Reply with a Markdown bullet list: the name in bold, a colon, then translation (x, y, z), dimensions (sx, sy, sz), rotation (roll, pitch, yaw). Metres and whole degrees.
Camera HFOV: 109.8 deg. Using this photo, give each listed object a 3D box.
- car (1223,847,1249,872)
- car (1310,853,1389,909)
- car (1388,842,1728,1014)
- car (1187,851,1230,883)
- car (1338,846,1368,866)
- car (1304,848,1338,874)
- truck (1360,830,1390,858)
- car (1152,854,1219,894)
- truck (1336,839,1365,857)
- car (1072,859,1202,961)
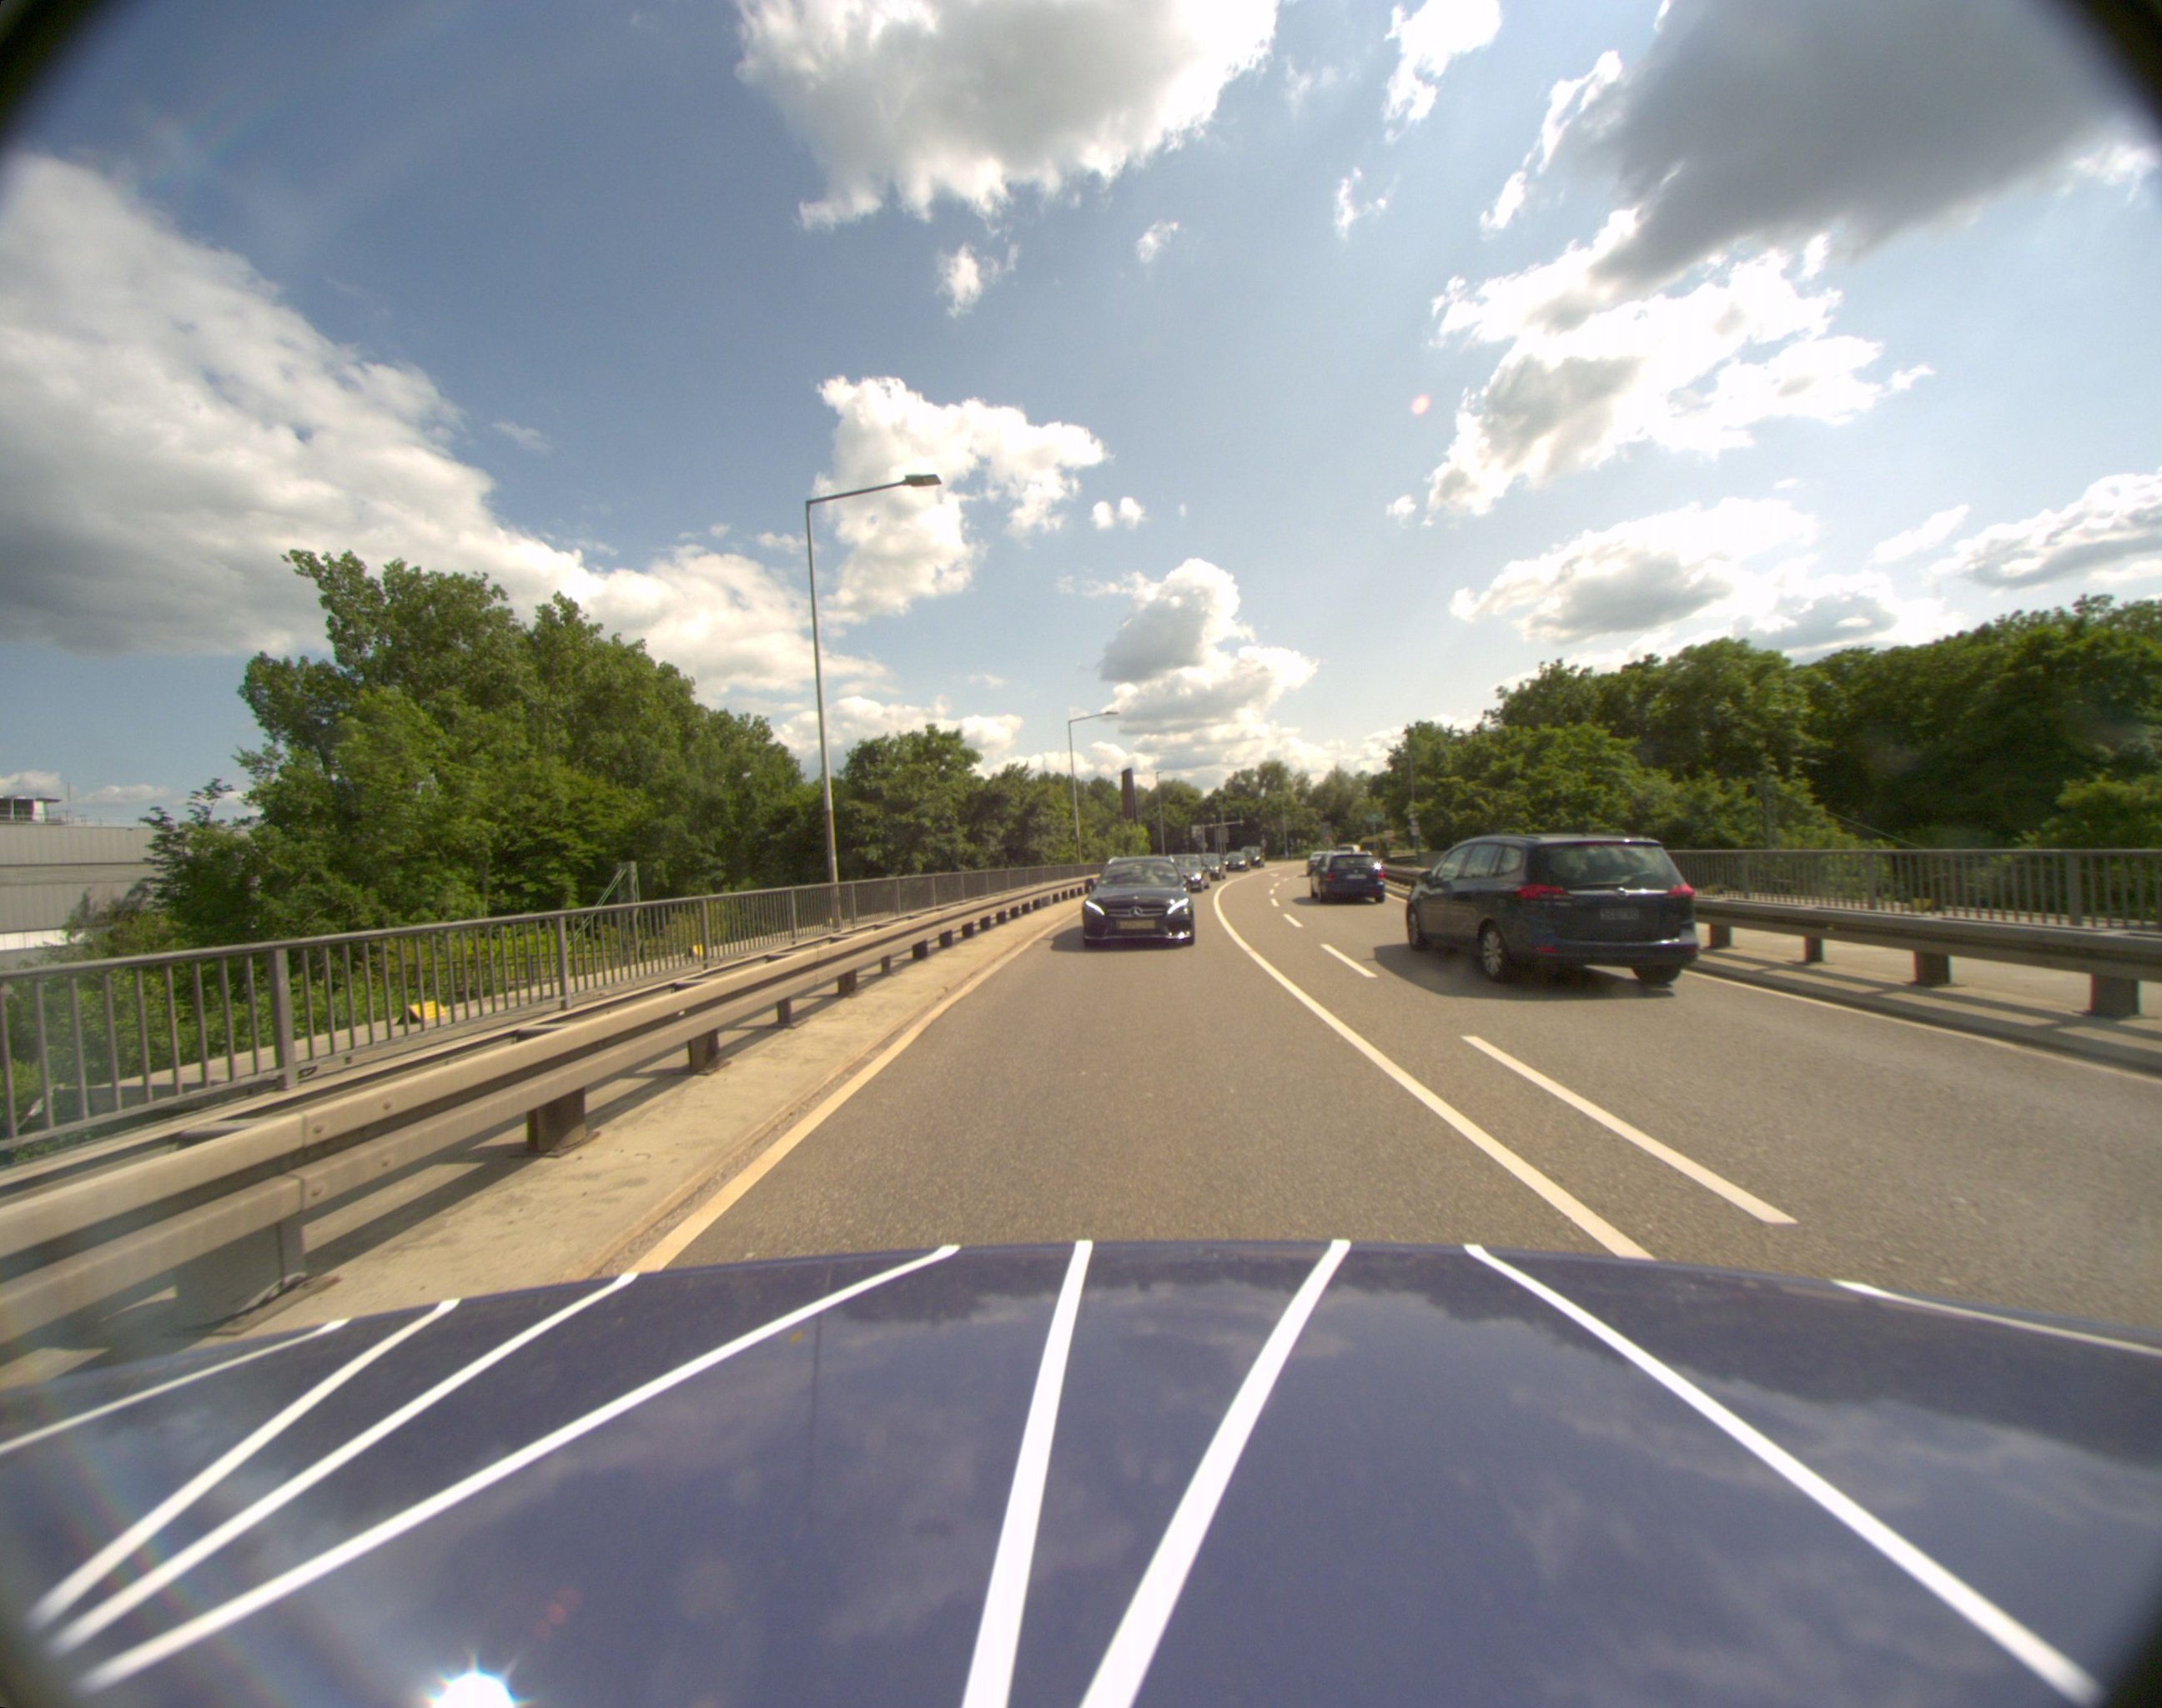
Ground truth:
- **car**: translation (11.391, 0.374, 55.638), dimensions (1.636, 1.505, 3.722), rotation (-4, 3, 13)
- **car**: translation (7.797, 0.710, 22.364), dimensions (1.661, 1.445, 4.330), rotation (-1, 0, 12)
- **car**: translation (5.424, 0.685, 9.442), dimensions (1.721, 1.622, 4.429), rotation (-1, 1, 4)
- **car**: translation (6.960, 0.666, 41.265), dimensions (1.820, 1.330, 4.732), rotation (-4, 1, 14)
- **car**: translation (21.335, 0.125, 59.456), dimensions (1.749, 1.441, 4.344), rotation (-1, 1, 26)
- **car**: translation (14.178, 0.406, 44.740), dimensions (1.796, 1.367, 4.586), rotation (-1, 1, 19)
- **truck**: translation (28.469, -0.980, 73.496), dimensions (1.995, 2.606, 6.115), rotation (0, 1, 28)
- **car**: translation (4.173, 0.728, 29.739), dimensions (1.856, 1.355, 4.004), rotation (-1, 2, 19)
- **truck**: translation (29.501, -0.646, 82.976), dimensions (1.962, 1.902, 5.380), rotation (-1, 0, 30)
- **car**: translation (1.186, 0.865, 13.711), dimensions (1.793, 1.427, 4.373), rotation (0, 1, 11)
